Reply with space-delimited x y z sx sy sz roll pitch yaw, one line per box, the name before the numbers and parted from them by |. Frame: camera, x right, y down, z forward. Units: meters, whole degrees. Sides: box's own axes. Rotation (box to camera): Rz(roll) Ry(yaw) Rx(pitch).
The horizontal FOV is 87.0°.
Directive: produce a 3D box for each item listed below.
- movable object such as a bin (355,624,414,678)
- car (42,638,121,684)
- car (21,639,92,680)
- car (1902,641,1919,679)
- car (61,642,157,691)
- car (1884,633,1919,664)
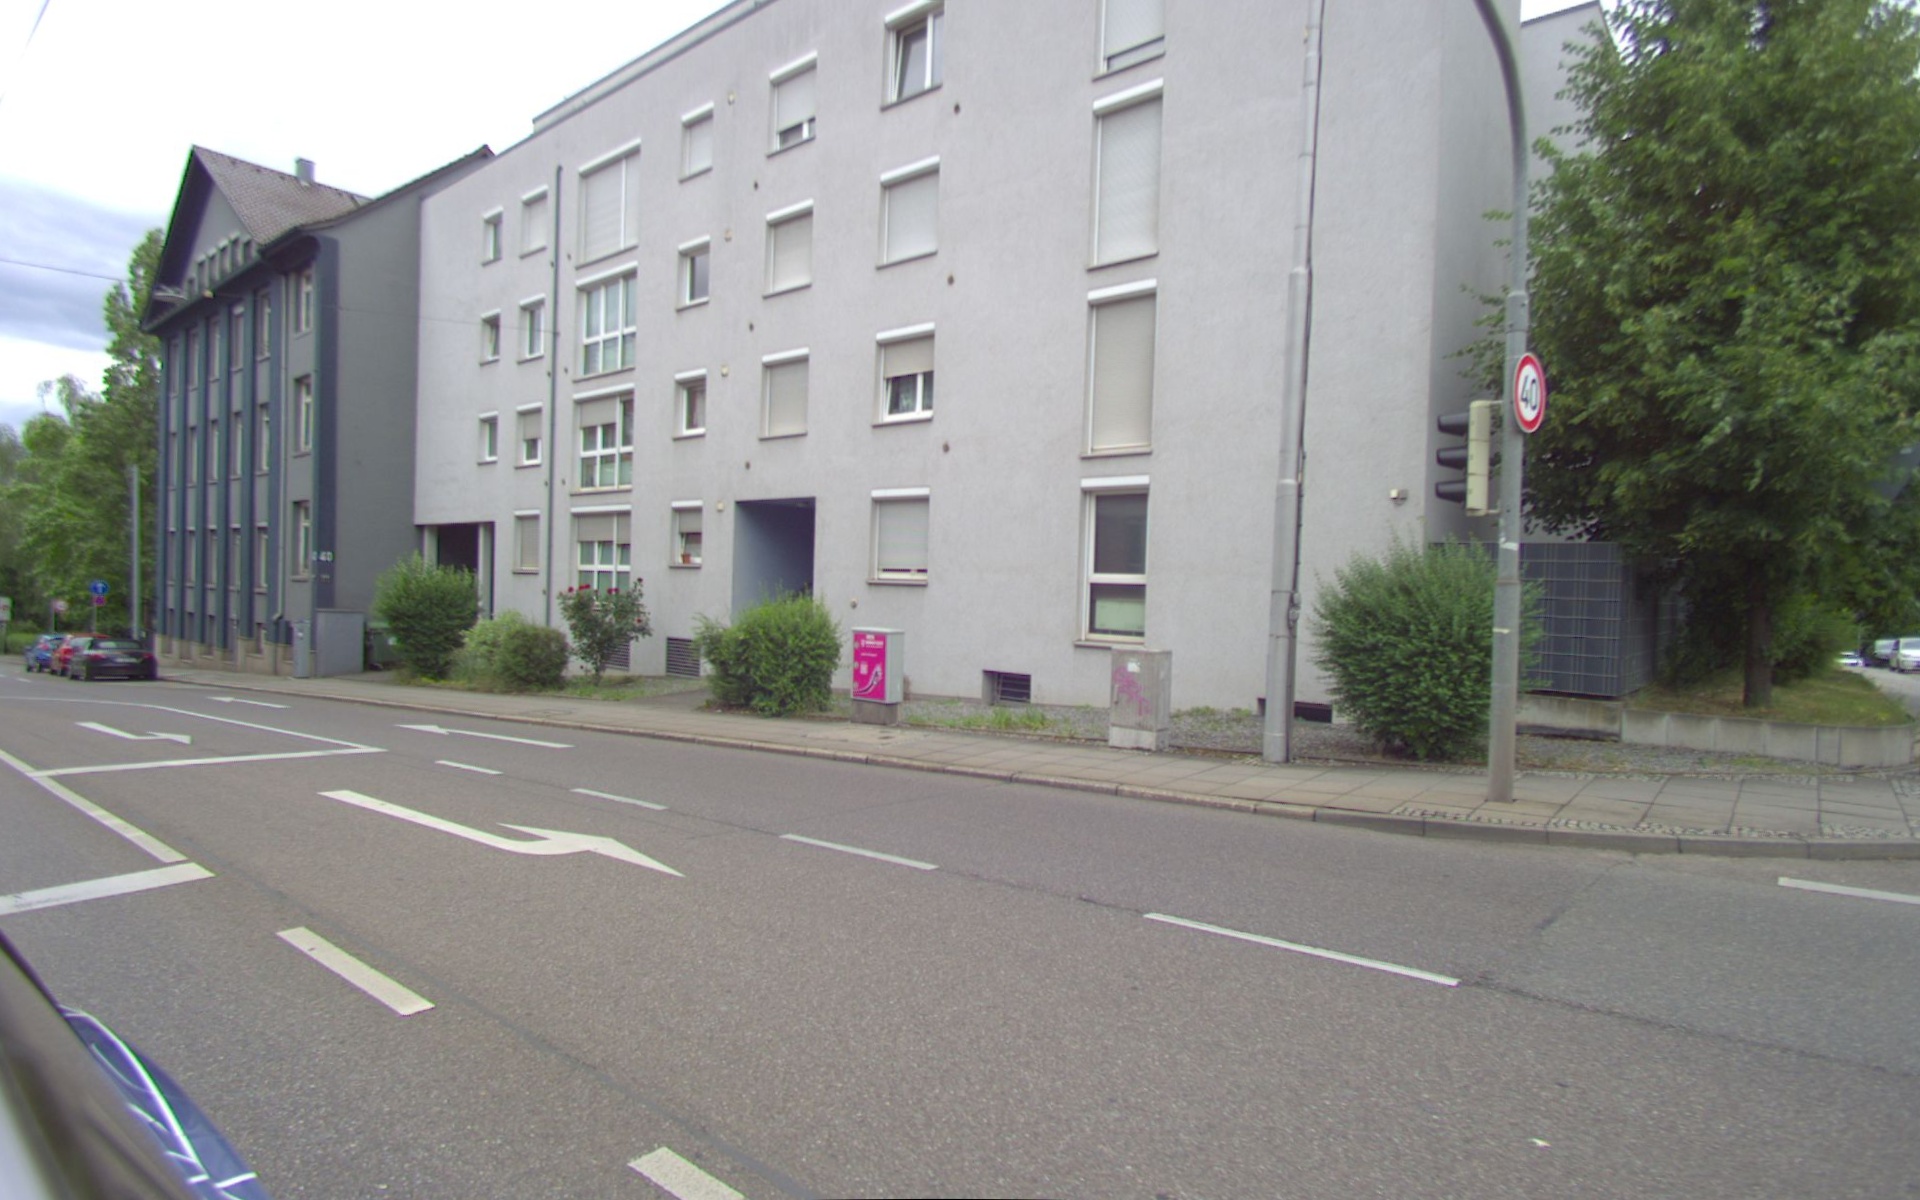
movable object such as a bin | -16.952 1.473 29.808 1.039 1.518 1.213 -2 0 41
car | -31.426 2.147 36.187 3.727 1.460 1.623 -1 0 41
car | -35.396 2.287 39.630 3.727 1.460 1.623 -1 0 41
car | 40.289 2.463 41.847 1.674 1.372 3.947 -1 -1 39
car | -27.008 2.054 32.074 3.727 1.403 1.778 -1 -2 41
car | 46.669 2.343 49.685 1.674 1.372 3.947 -1 -1 39
